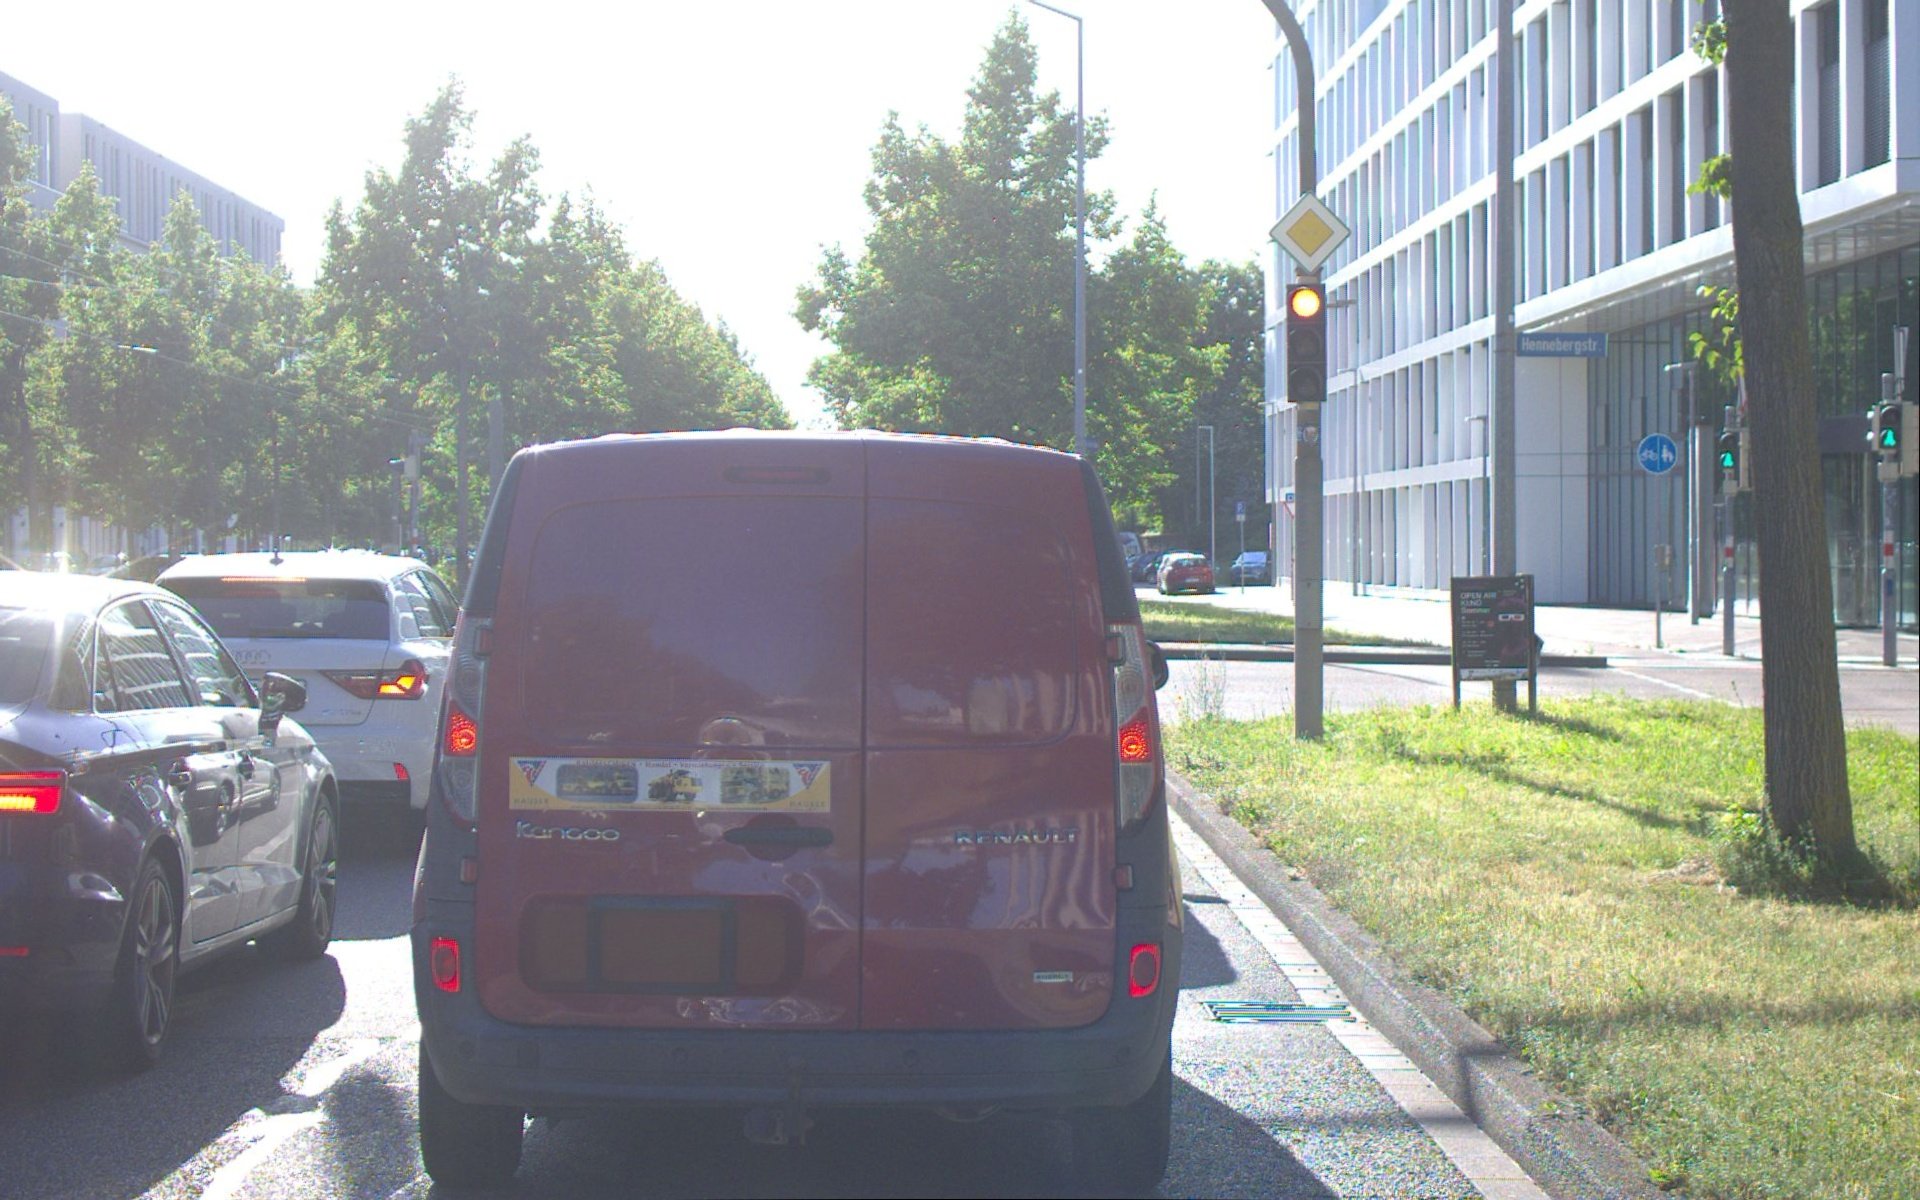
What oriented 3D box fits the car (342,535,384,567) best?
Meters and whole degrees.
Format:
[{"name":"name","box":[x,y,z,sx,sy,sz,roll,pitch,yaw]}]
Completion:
[{"name":"car","box":[-37.734,-3.098,217.231,1.993,2.007,4.000,0,1,-1]}]

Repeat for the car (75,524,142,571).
[{"name":"car","box":[-36.962,-2.274,149.312,1.993,2.007,4.000,0,1,-1]}]

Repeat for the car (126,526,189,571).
[{"name":"car","box":[-36.949,-2.380,158.413,1.993,2.007,4.000,0,1,-1]}]

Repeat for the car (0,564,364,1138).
[{"name":"car","box":[-3.164,0.616,10.909,1.842,1.421,4.339,0,1,-1]}]

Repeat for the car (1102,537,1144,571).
[{"name":"car","box":[8.506,-2.430,179.800,1.993,1.776,4.000,0,1,-1]}]

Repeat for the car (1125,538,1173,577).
[{"name":"car","box":[8.802,-1.996,160.602,1.993,1.776,4.000,0,1,-1]}]

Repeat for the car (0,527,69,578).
[{"name":"car","box":[-36.883,-1.902,136.486,1.993,2.007,4.000,0,1,-1]}]

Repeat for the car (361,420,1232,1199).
[{"name":"car","box":[-0.372,0.470,9.295,1.842,1.774,4.000,0,1,-1]}]

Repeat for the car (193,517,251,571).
[{"name":"car","box":[-36.115,-2.760,168.340,1.993,2.598,4.000,0,1,-1]}]

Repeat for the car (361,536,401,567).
[{"name":"car","box":[-37.523,-3.156,222.855,1.993,2.007,4.000,0,1,-1]}]

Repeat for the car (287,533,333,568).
[{"name":"car","box":[-37.655,-2.884,199.214,1.993,2.007,4.000,0,1,-1]}]

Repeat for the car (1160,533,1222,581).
[{"name":"car","box":[8.591,-1.623,127.998,1.993,1.776,4.000,0,1,-1]}]

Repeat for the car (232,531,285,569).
[{"name":"car","box":[-37.207,-2.671,182.399,1.993,2.007,4.000,0,1,-1]}]

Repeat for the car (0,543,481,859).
[{"name":"car","box":[-3.602,0.429,17.606,1.803,1.421,3.901,0,1,-1]}]

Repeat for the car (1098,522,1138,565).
[{"name":"car","box":[9.094,-3.263,198.309,1.993,2.488,4.987,0,1,-1]}]
